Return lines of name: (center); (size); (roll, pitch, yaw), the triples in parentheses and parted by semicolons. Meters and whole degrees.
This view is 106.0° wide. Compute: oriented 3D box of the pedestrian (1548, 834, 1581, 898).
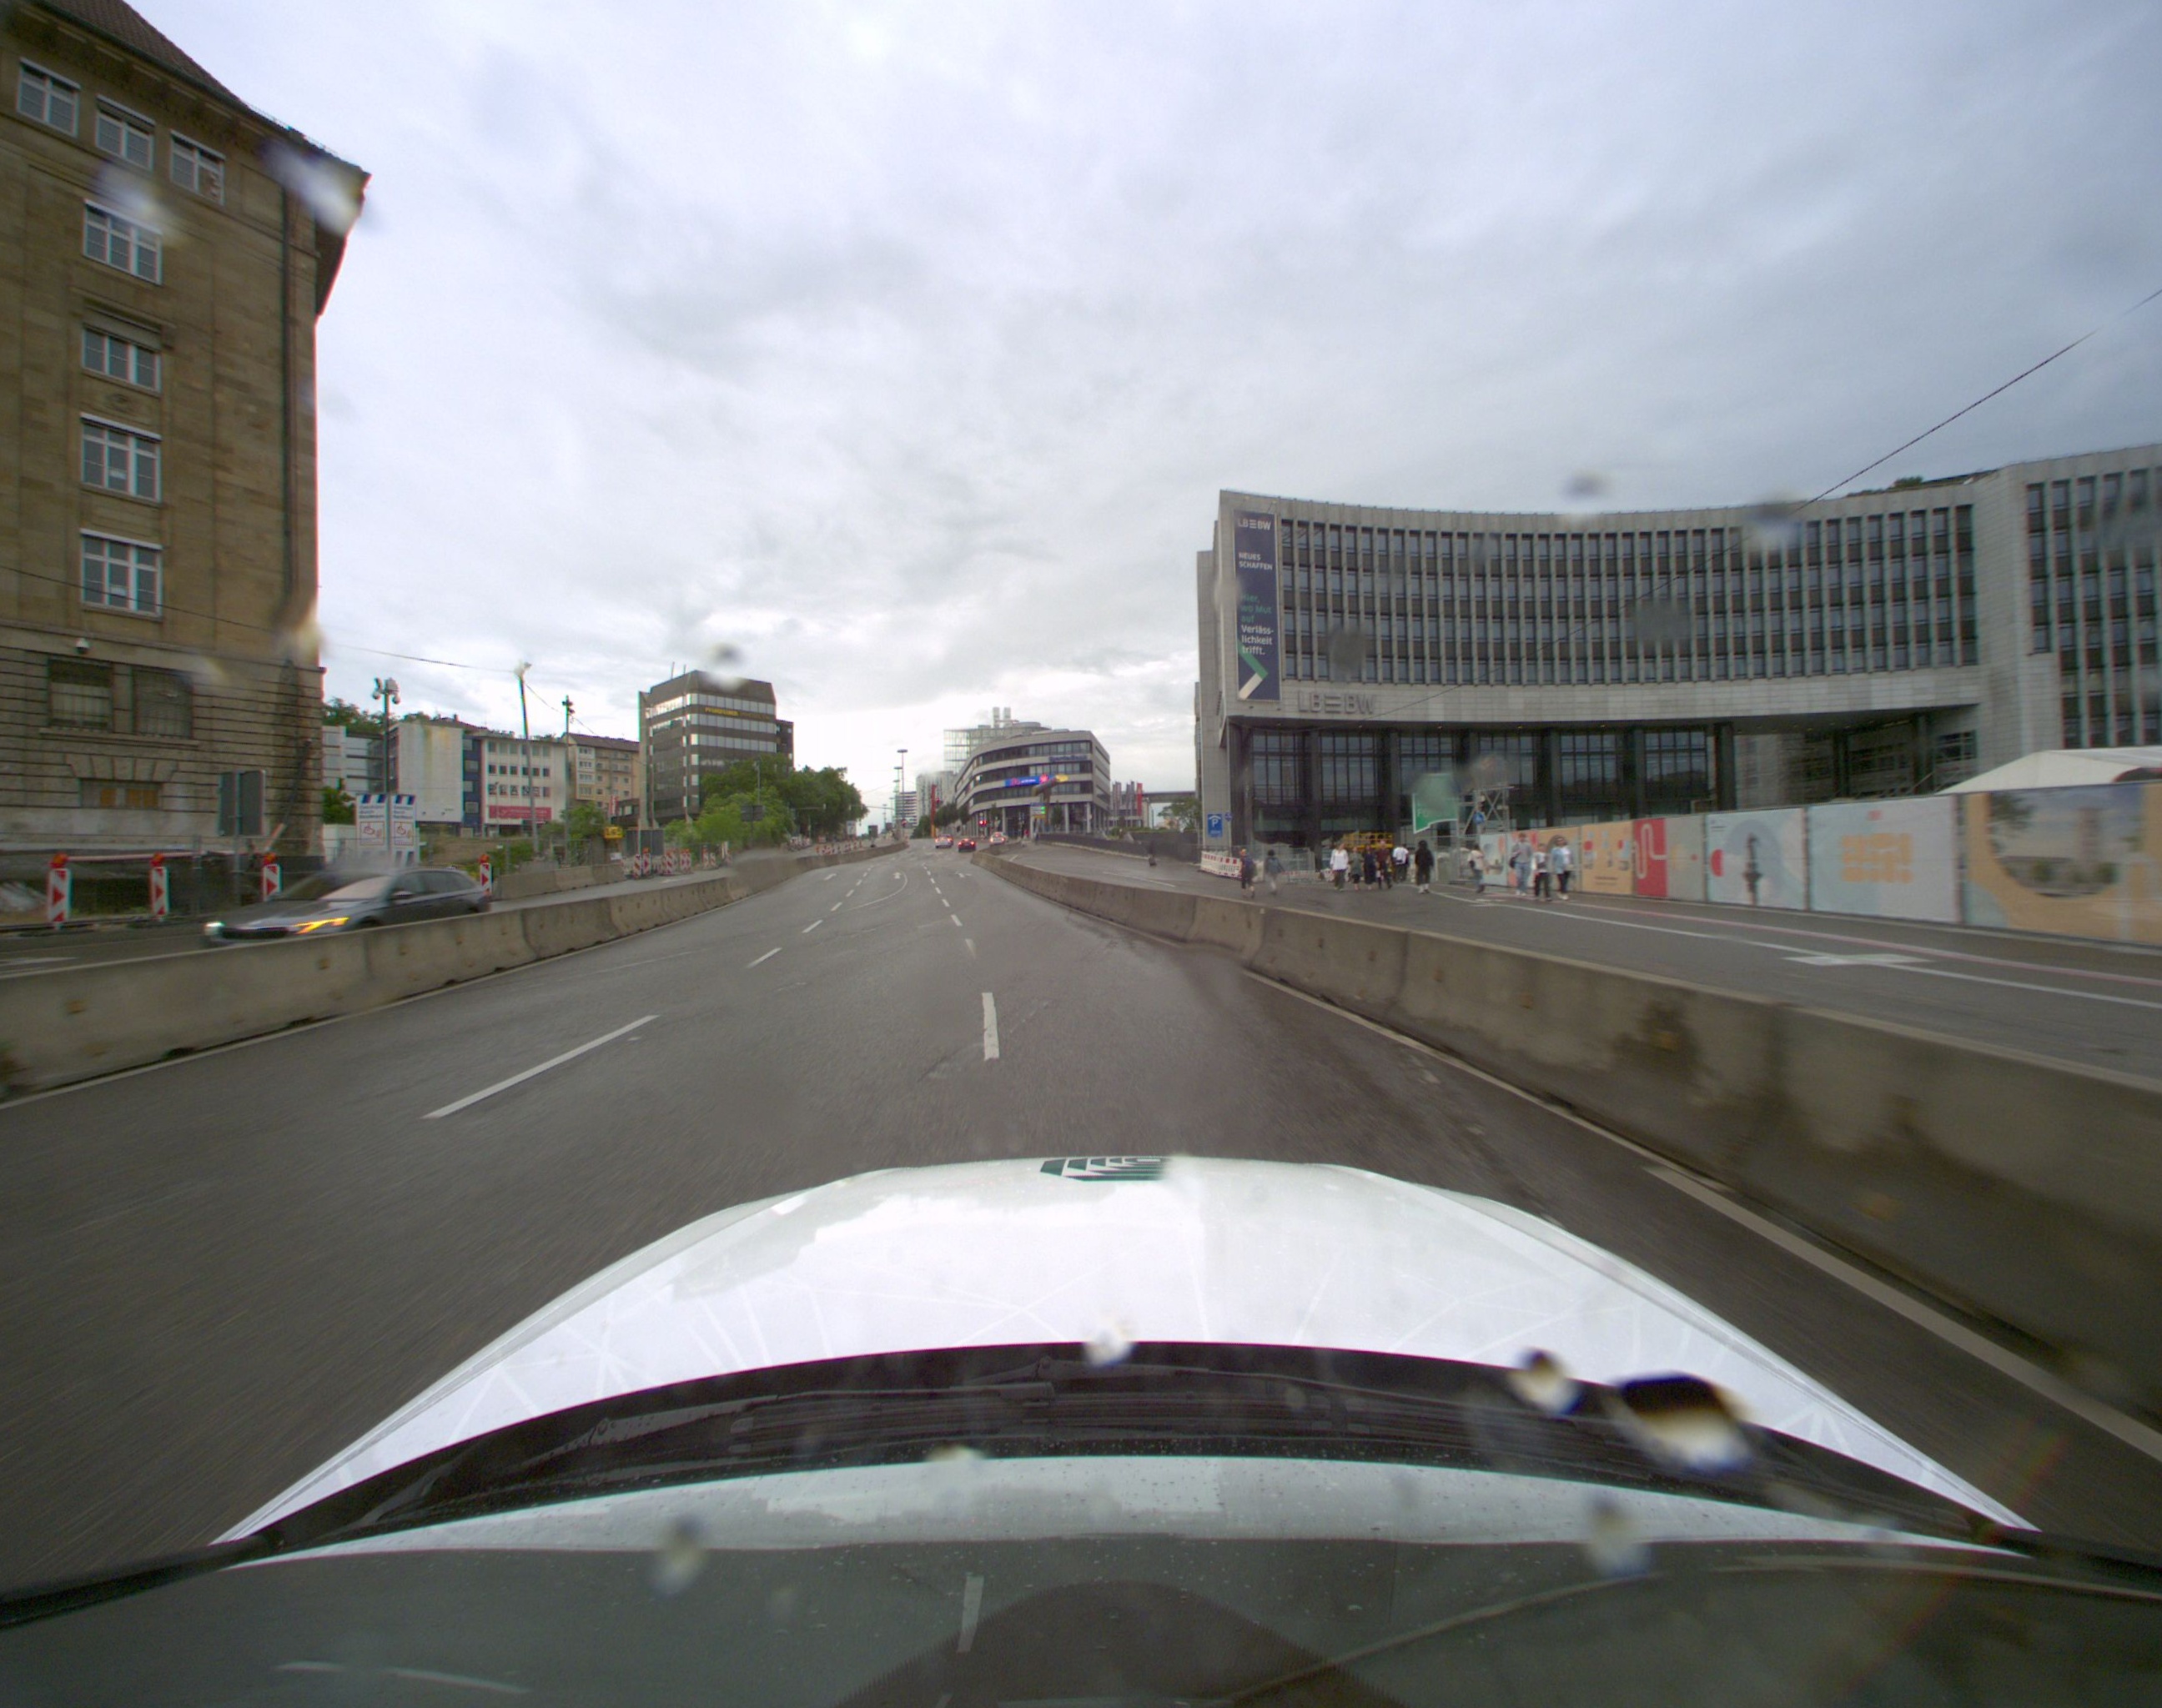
pedestrian: (12.848, 0.322, 21.657); (0.641, 1.655, 0.770); (-1, -1, 24)

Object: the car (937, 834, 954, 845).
car: (-18.046, -1.907, 108.307); (1.743, 1.443, 3.980); (-1, 2, -15)

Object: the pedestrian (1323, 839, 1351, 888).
pedestrian: (9.167, 0.353, 29.203); (0.773, 1.723, 0.893); (-1, -1, 7)

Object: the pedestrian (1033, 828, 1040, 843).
pedestrian: (-5.228, -2.161, 95.447); (0.730, 1.711, 0.839); (-1, -1, -13)

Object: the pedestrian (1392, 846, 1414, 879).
pedestrian: (15.352, 0.389, 38.797); (0.859, 1.553, 1.012); (-1, -1, 16)

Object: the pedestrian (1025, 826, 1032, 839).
pedestrian: (-8.031, -3.227, 123.715); (0.834, 1.904, 0.864); (-1, -1, 13)

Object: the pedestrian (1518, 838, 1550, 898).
pedestrian: (12.105, 0.377, 21.763); (0.641, 1.553, 0.770); (-1, -1, 24)

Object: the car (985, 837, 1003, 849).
car: (-10.598, -1.364, 99.154); (1.702, 1.451, 4.596); (-1, 1, -13)

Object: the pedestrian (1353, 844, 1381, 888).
pedestrian: (10.303, 0.420, 29.357); (0.710, 1.553, 1.010); (-1, -1, 7)

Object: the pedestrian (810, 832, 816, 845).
pedestrian: (-40.478, -2.282, 122.904); (0.672, 1.901, 0.773); (-1, -1, -10)

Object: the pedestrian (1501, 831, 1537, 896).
pedestrian: (12.698, 0.270, 23.661); (0.810, 1.849, 0.937); (-1, -1, 24)

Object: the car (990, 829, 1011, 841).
car: (-11.117, -2.682, 112.428); (1.761, 1.634, 4.592); (-1, 2, 8)

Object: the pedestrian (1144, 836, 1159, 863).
pedestrian: (4.452, -0.272, 51.089); (0.724, 1.652, 1.065); (-1, 0, 15)

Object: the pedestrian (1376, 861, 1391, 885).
pedestrian: (21.154, 1.330, 56.904); (0.657, 1.637, 0.732); (0, -1, -43)

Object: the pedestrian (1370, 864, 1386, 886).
pedestrian: (22.524, 1.613, 61.748); (0.857, 1.637, 1.015); (-2, -1, 37)

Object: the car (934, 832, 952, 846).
car: (-16.781, -1.842, 99.340); (1.962, 1.548, 4.208); (-1, 2, -8)

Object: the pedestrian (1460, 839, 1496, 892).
pedestrian: (12.920, 0.372, 26.551); (0.859, 1.689, 1.012); (-1, -1, 16)

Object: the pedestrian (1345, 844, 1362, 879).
pedestrian: (12.932, 0.373, 38.700); (0.692, 1.637, 0.920); (-1, -1, 16)

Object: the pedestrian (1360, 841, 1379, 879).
pedestrian: (13.690, 0.289, 38.623); (0.765, 1.783, 1.012); (-1, -1, 16)

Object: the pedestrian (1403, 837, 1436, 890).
pedestrian: (11.276, 0.324, 27.162); (0.859, 1.725, 1.012); (-1, -1, 16)

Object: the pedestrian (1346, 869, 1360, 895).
pedestrian: (17.977, 1.837, 53.858); (0.859, 1.637, 1.012); (-1, -1, 16)

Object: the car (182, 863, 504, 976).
car: (-11.867, 0.938, 13.592); (1.765, 1.521, 4.375); (-1, 0, -7)

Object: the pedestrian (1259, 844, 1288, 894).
pedestrian: (6.229, 0.479, 26.348); (0.854, 1.593, 0.956); (-1, -1, 15)

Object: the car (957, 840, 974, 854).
car: (-12.477, -0.763, 87.600); (1.754, 1.407, 4.214); (0, 0, -9)

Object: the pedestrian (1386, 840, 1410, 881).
pedestrian: (13.997, 0.281, 35.996); (0.859, 1.781, 1.012); (-1, -1, 16)

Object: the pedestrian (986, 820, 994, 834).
pedestrian: (-14.297, -4.215, 128.163); (0.859, 2.098, 0.894); (0, 1, -36)

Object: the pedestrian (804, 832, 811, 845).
pedestrian: (-41.244, -2.286, 122.777); (0.761, 1.922, 0.739); (-1, -1, -10)

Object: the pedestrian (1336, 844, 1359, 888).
pedestrian: (9.593, 0.432, 29.359); (0.605, 1.522, 0.887); (-1, -1, 7)

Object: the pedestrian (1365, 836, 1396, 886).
pedestrian: (11.129, 0.257, 30.311); (0.861, 1.818, 1.010); (-1, -1, 7)

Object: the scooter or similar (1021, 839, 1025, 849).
scooter or similar: (-6.395, -1.087, 89.992); (0.347, 1.162, 0.573); (-1, 0, 2)

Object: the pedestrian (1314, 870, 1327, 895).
pedestrian: (15.961, 1.871, 54.352); (0.580, 1.637, 0.757); (-2, -1, 36)

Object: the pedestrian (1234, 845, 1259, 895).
pedestrian: (5.344, 0.506, 26.335); (0.726, 1.575, 0.808); (0, 0, 15)

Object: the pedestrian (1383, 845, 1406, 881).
pedestrian: (14.431, 0.398, 37.480); (0.859, 1.637, 1.012); (-1, -1, 16)
